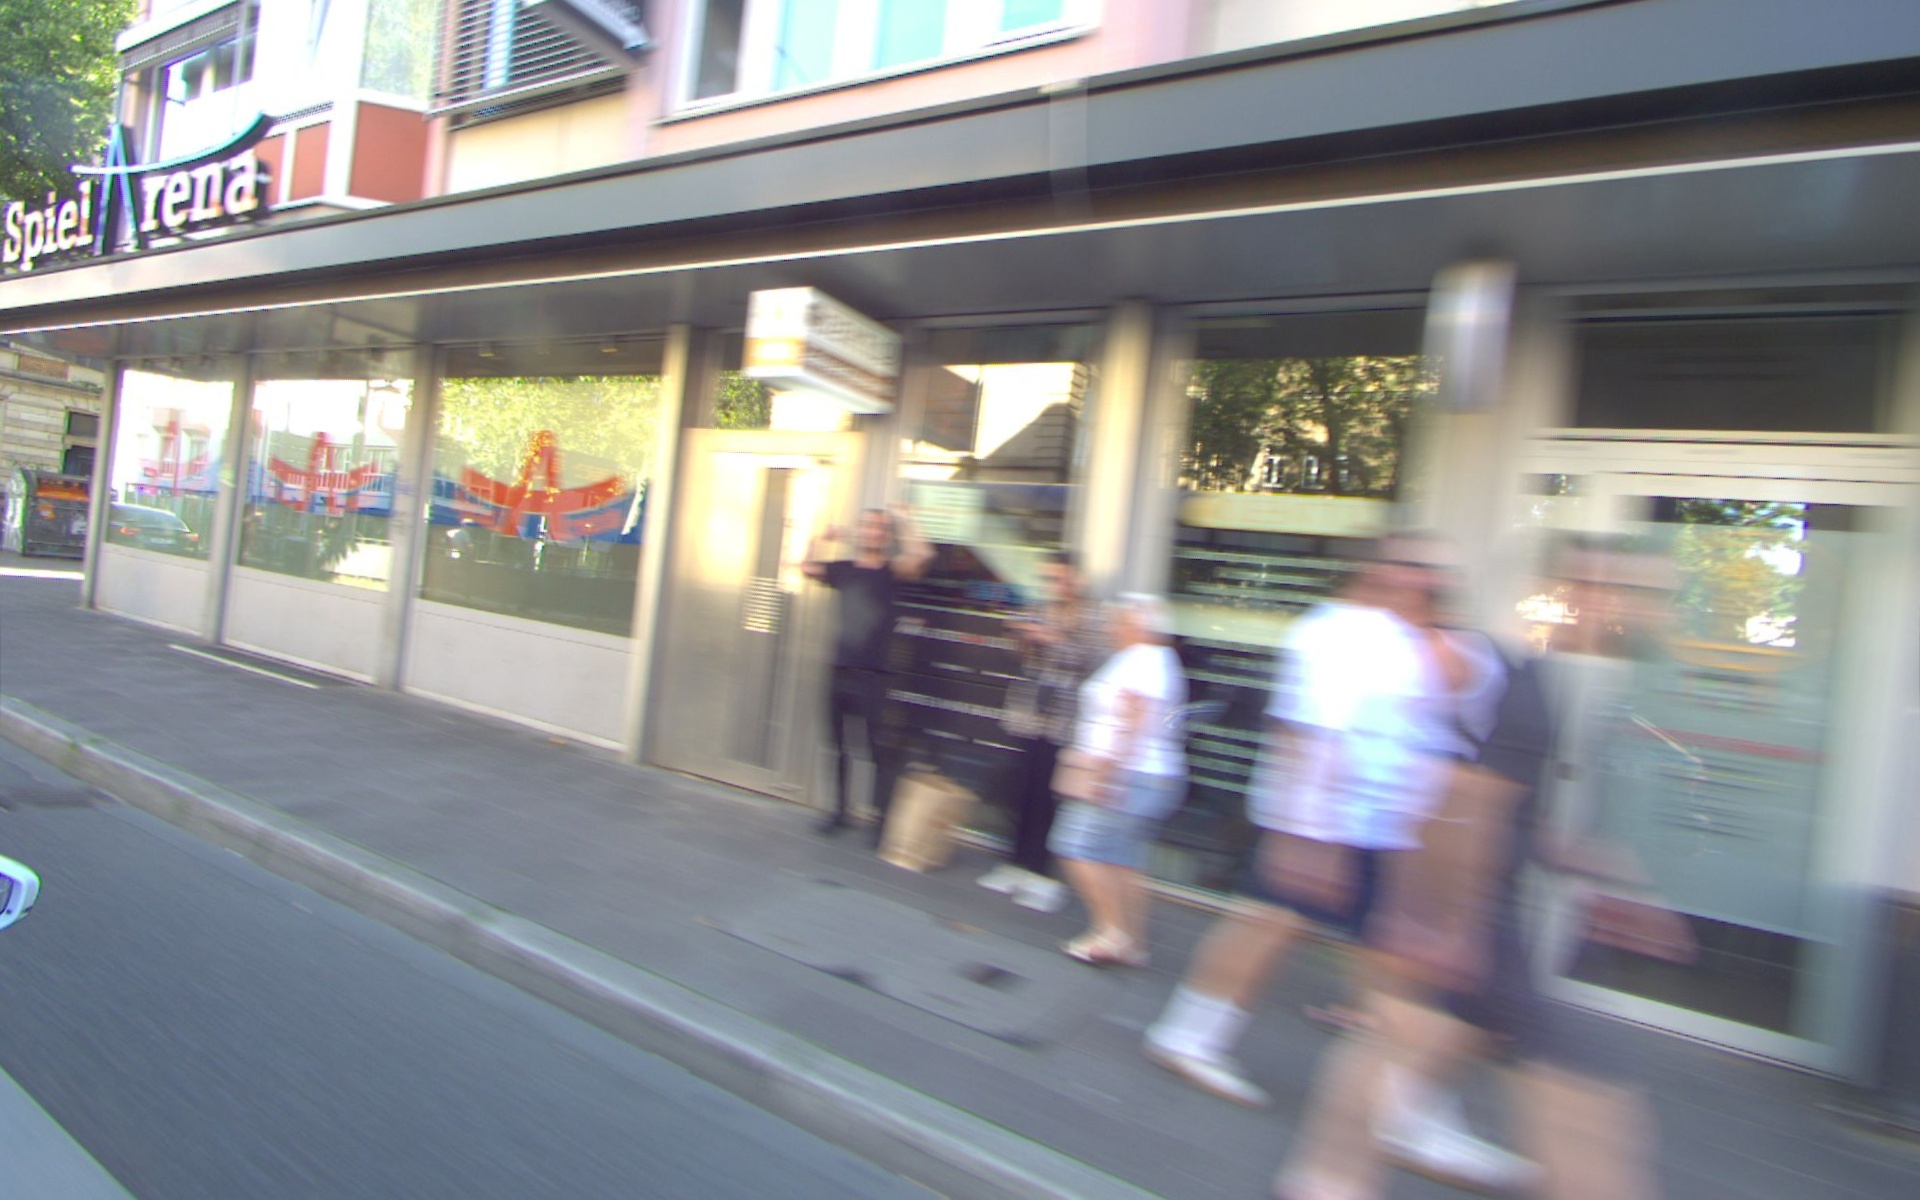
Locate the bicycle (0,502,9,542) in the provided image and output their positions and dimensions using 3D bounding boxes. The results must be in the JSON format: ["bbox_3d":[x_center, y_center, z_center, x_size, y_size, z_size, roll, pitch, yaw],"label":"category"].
[{"bbox_3d":[-28.339,-2.356,28.654,1.784,1.129,0.443,7,1,-10],"label":"bicycle"}]

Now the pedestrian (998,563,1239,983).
[{"bbox_3d":[0.656,0.643,4.114,0.643,1.503,0.636,7,3,30],"label":"pedestrian"}]

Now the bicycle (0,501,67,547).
[{"bbox_3d":[-27.673,-2.273,29.799,1.784,1.129,0.443,7,1,-10],"label":"bicycle"}]

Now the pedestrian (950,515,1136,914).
[{"bbox_3d":[0.418,0.528,4.936,0.492,1.792,0.630,7,2,31],"label":"pedestrian"}]

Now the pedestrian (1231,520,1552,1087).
[{"bbox_3d":[1.602,0.658,3.691,0.801,1.747,0.746,7,-1,31],"label":"pedestrian"}]

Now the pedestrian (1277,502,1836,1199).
[{"bbox_3d":[1.279,0.709,2.299,0.797,1.752,0.667,7,3,30],"label":"pedestrian"}]

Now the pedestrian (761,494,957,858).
[{"bbox_3d":[-0.573,0.392,5.645,0.798,1.873,0.451,7,2,32],"label":"pedestrian"}]

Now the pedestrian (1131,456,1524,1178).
[{"bbox_3d":[1.112,0.547,3.045,0.698,1.845,0.759,8,4,42],"label":"pedestrian"}]

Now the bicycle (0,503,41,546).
[{"bbox_3d":[-27.960,-2.259,29.263,1.784,1.129,0.443,7,1,-10],"label":"bicycle"}]
